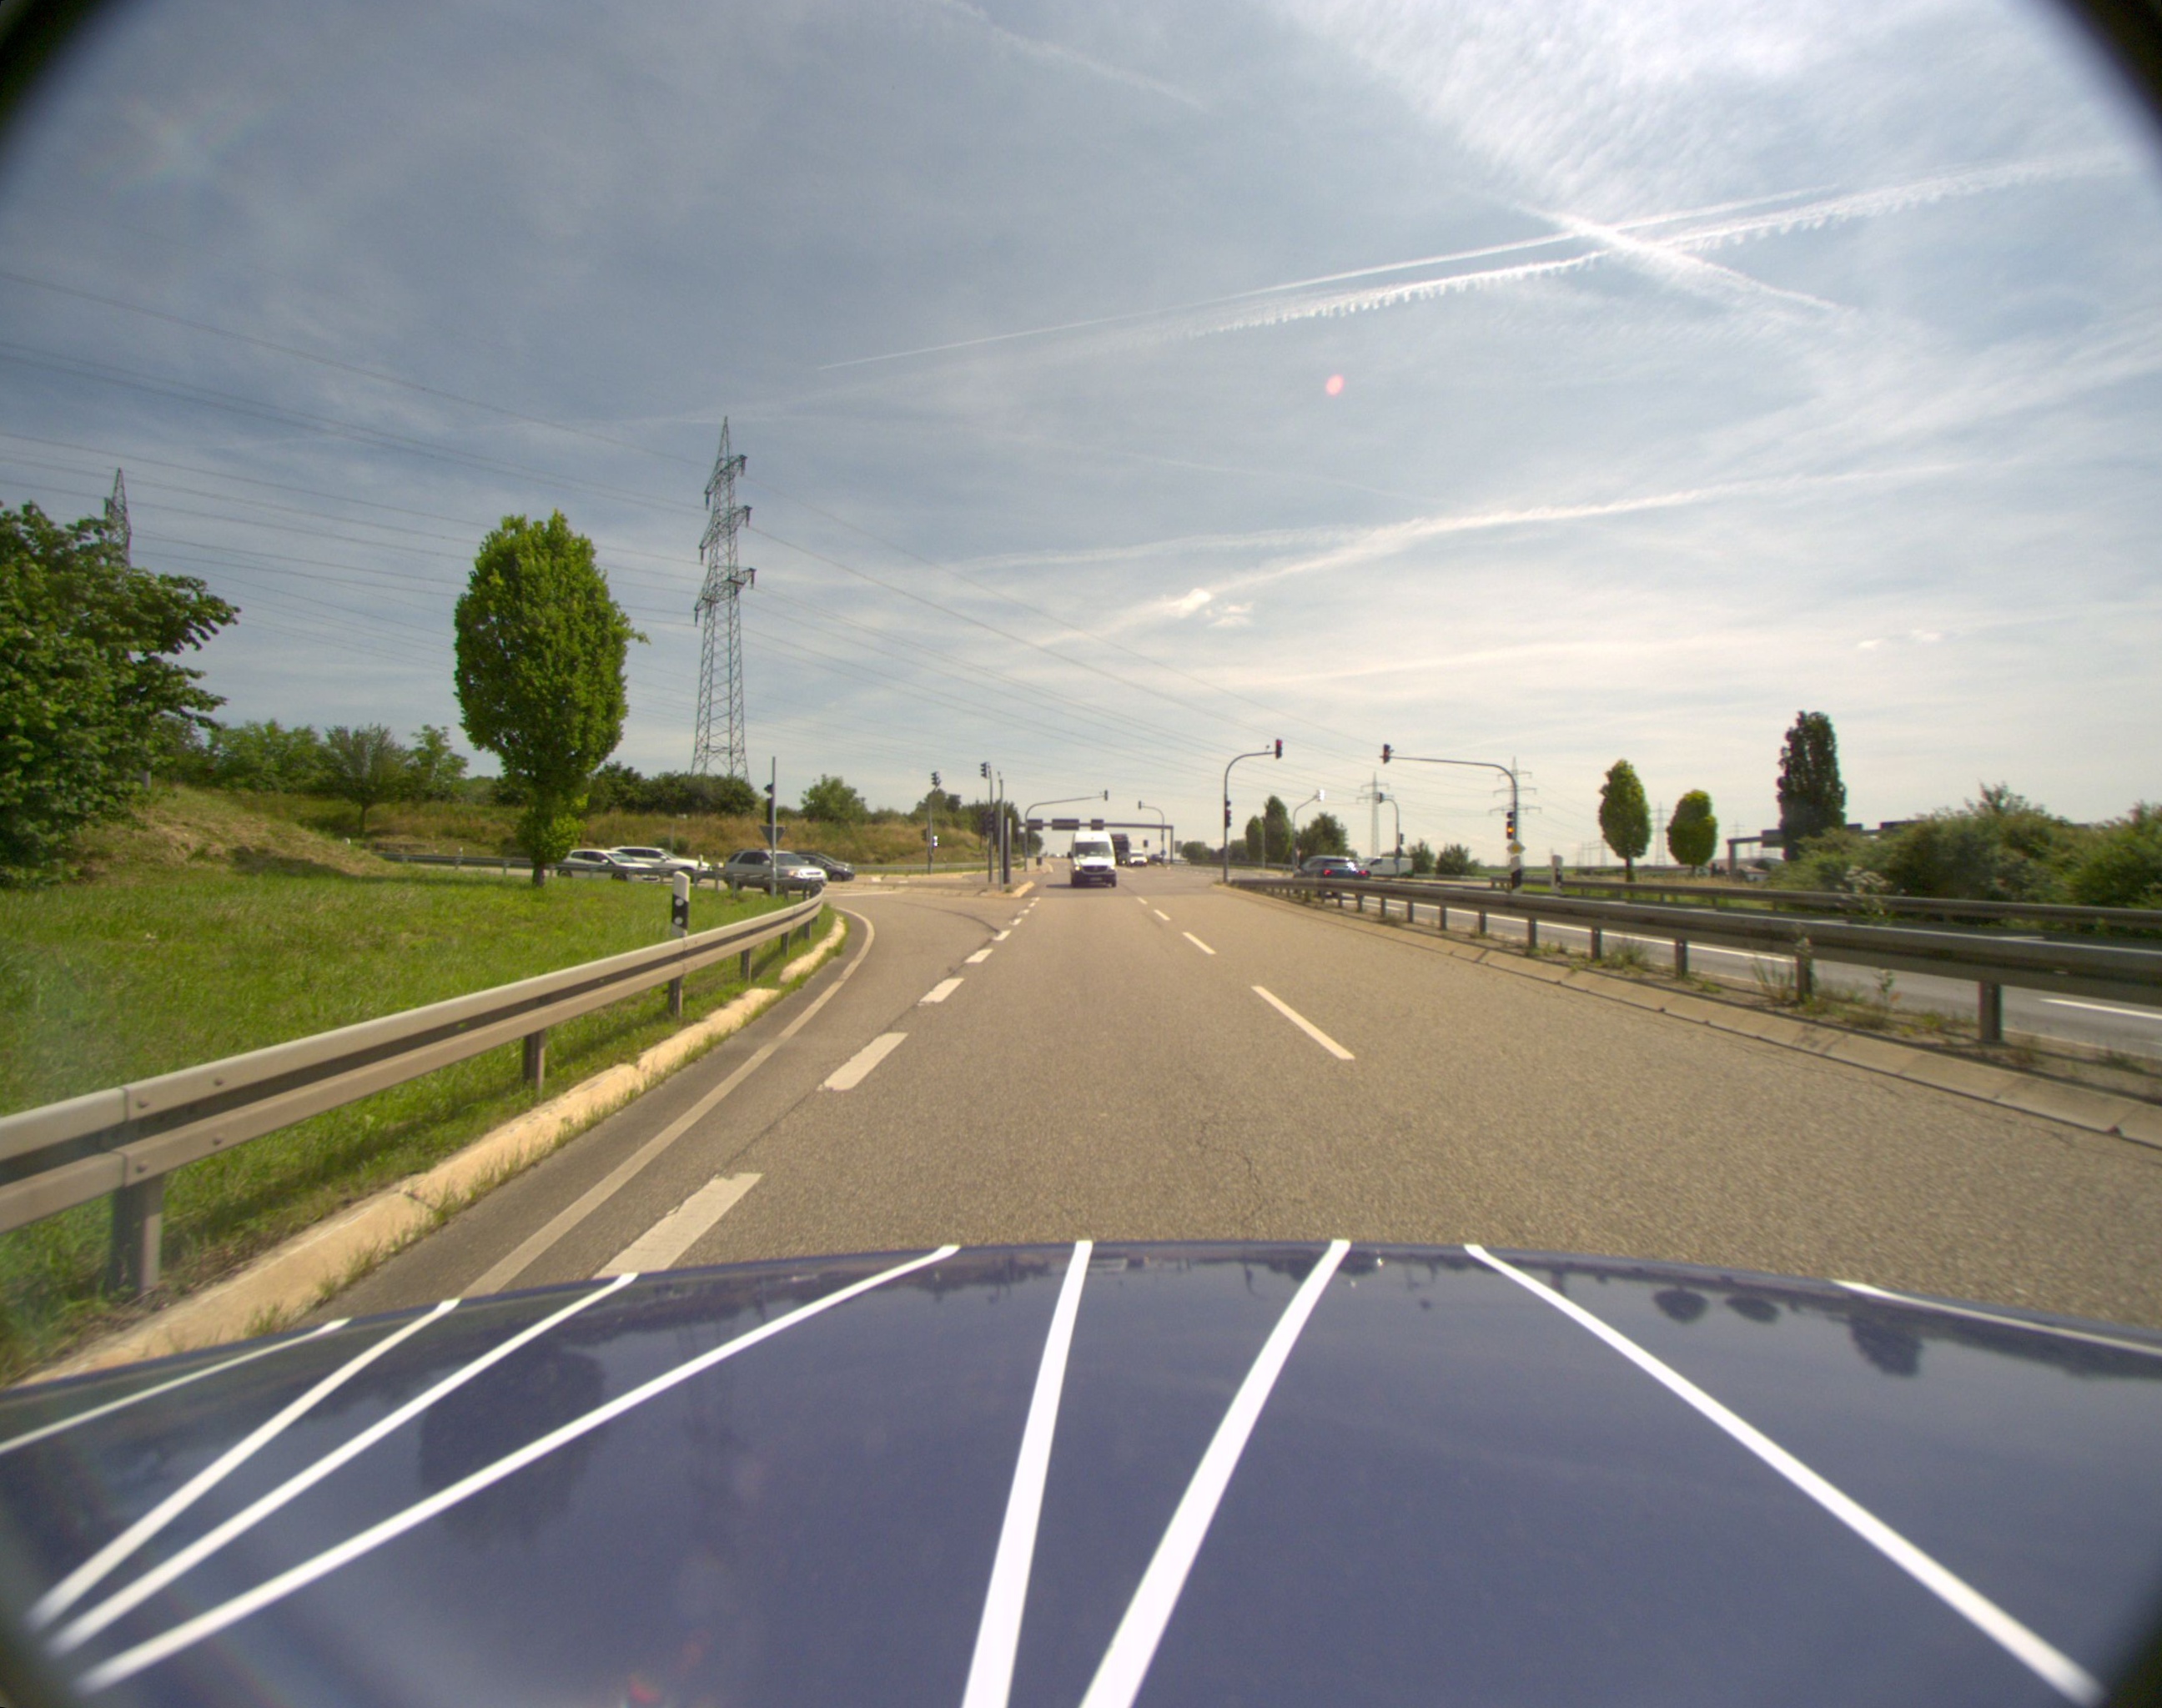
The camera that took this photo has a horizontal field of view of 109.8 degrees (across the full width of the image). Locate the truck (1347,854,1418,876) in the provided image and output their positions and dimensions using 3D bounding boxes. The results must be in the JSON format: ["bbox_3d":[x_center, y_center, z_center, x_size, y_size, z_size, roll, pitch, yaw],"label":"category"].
[{"bbox_3d":[25.609,0.930,64.663,5.283,1.746,1.998,2,1,-10],"label":"truck"}]

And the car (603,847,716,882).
[{"bbox_3d":[-19.886,0.495,36.049,4.375,1.583,1.777,1,1,-15],"label":"car"}]

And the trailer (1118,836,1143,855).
[{"bbox_3d":[10.280,-1.884,160.053,2.647,3.742,19.787,0,1,-4],"label":"trailer"}]

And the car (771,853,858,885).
[{"bbox_3d":[-13.252,0.751,38.008,4.003,1.502,1.713,2,0,-17],"label":"car"}]

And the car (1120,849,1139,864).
[{"bbox_3d":[5.738,0.249,90.085,1.861,1.648,4.347,-1,1,-2],"label":"car"}]

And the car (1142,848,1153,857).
[{"bbox_3d":[12.116,-0.222,138.107,1.648,1.488,3.800,1,1,0],"label":"car"}]

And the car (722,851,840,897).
[{"bbox_3d":[-11.439,0.715,28.890,4.360,1.645,1.840,0,0,30],"label":"car"}]

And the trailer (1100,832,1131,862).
[{"bbox_3d":[4.664,-0.961,104.946,2.791,3.891,13.780,-1,1,-4],"label":"trailer"}]

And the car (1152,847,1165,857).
[{"bbox_3d":[12.644,-0.317,124.093,1.648,1.614,4.326,2,1,-1],"label":"car"}]

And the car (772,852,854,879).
[{"bbox_3d":[-15.483,0.653,44.099,4.375,1.501,1.714,1,0,-15],"label":"car"}]

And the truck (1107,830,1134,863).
[{"bbox_3d":[5.084,-0.967,98.124,2.791,3.990,5.968,-1,1,-4],"label":"truck"}]

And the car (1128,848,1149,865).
[{"bbox_3d":[6.157,0.262,82.102,1.772,1.788,4.751,-1,1,-1],"label":"car"}]

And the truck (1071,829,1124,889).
[{"bbox_3d":[0.662,0.191,34.483,1.999,2.518,5.103,-1,1,-3],"label":"truck"}]

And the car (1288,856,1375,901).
[{"bbox_3d":[9.104,0.841,27.961,1.760,1.460,4.195,0,0,-1],"label":"car"}]

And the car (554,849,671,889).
[{"bbox_3d":[-19.862,0.589,32.276,3.994,1.591,1.783,1,1,9],"label":"car"}]
